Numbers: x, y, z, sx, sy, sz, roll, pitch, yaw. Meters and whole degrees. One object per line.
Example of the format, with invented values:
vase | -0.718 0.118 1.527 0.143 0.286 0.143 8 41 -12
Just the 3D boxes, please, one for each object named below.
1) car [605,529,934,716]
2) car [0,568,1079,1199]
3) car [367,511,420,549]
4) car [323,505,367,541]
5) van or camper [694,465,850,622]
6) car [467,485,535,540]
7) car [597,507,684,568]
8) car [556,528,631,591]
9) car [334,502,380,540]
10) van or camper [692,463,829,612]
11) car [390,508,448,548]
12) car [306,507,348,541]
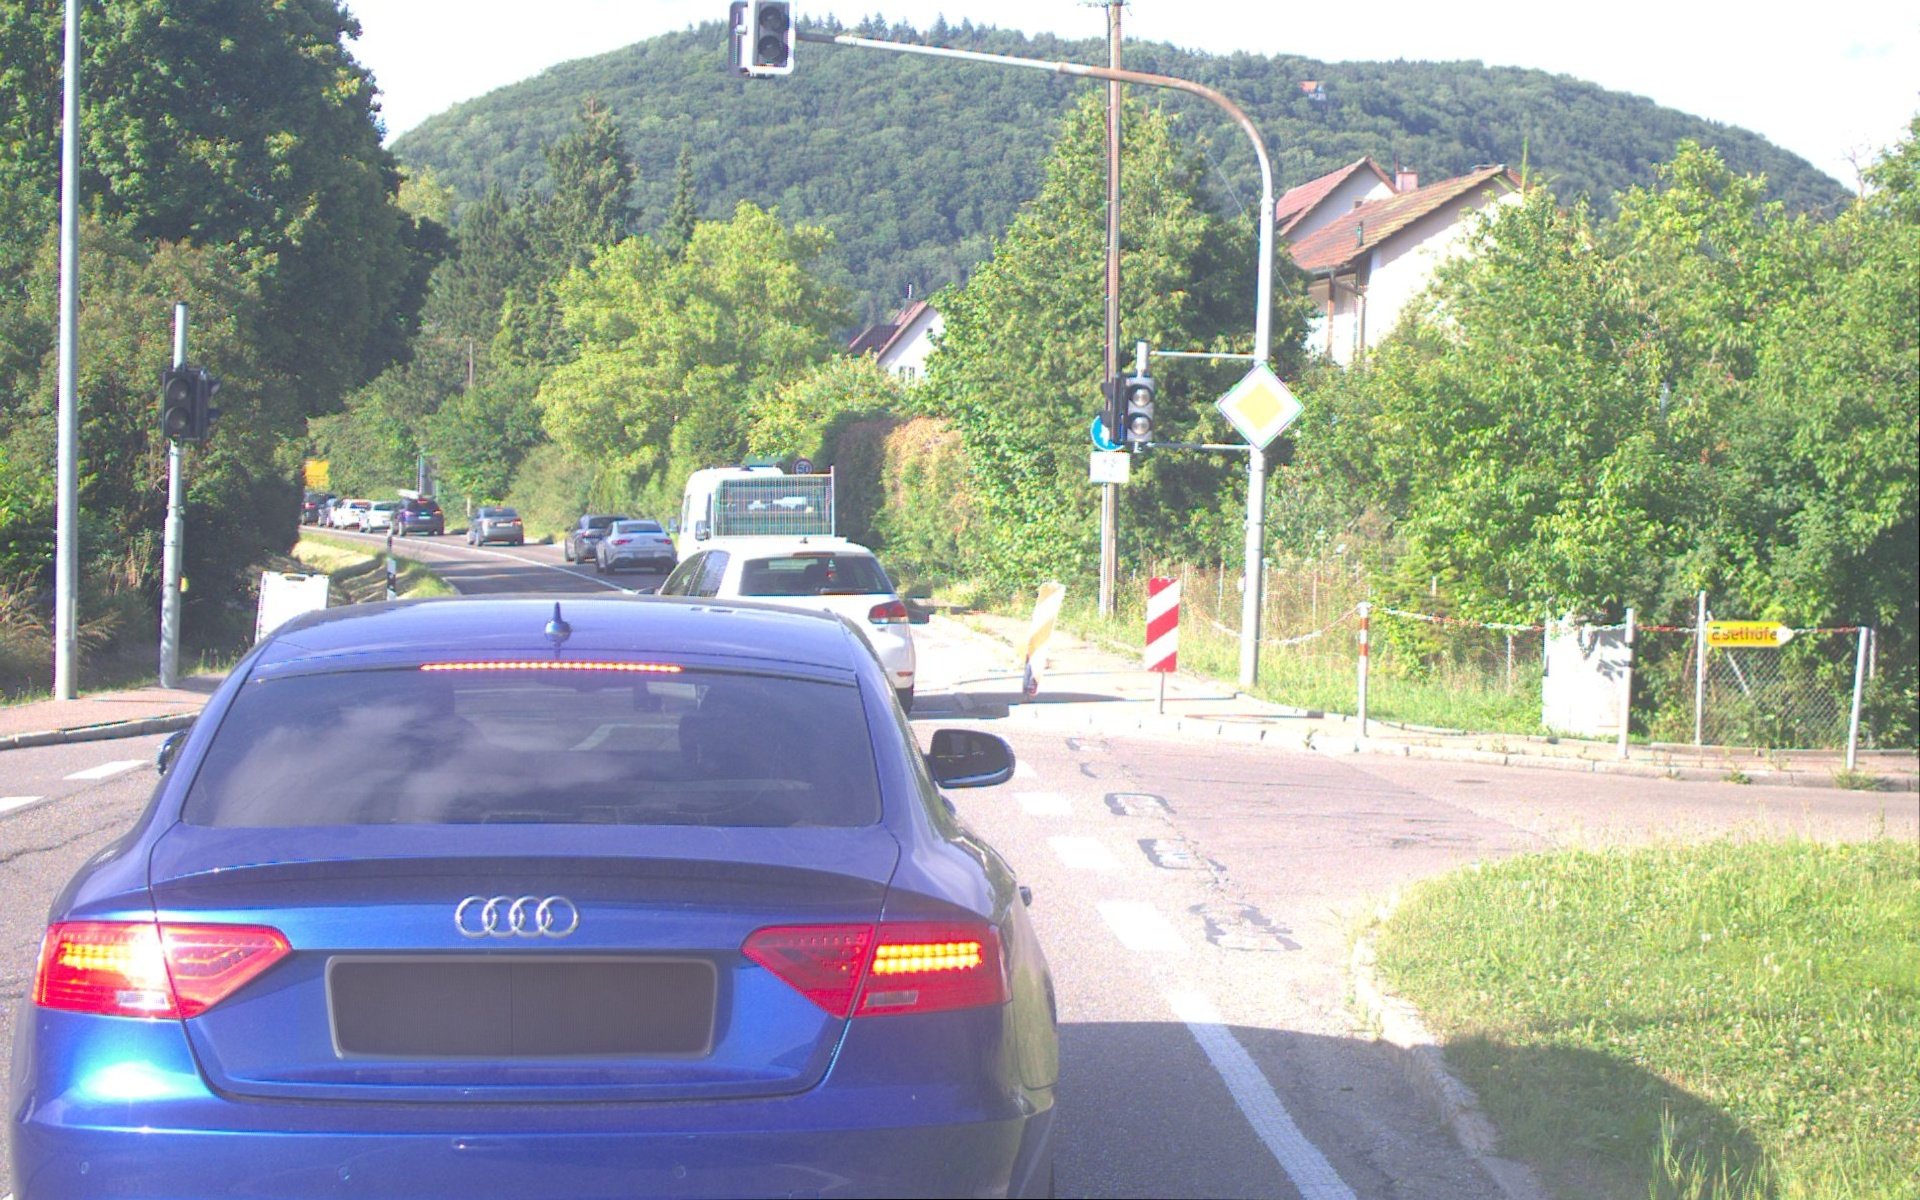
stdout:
car | -1.729 0.149 29.684 1.770 1.410 4.175 2 1 -18
car | -0.822 0.674 7.226 1.829 1.404 4.227 -1 1 -2
car | -25.931 -3.215 157.324 1.941 1.678 4.001 -1 1 -16
car | -30.760 -3.874 171.938 1.771 1.776 4.001 -1 2 -16
van or camper | -3.064 -0.931 54.958 2.179 2.377 5.371 0 2 -6
car | -17.091 -3.244 127.883 1.993 2.007 4.001 -1 1 -15
car | -8.430 -1.670 90.486 1.819 1.546 4.001 0 2 -12
car | -10.860 -1.215 101.699 1.796 1.787 4.001 -1 1 -12
car | -29.084 -3.809 165.801 1.748 1.776 4.001 -1 2 -16
van or camper | -4.103 -1.299 69.675 2.414 2.894 6.133 0 2 -6
car | -23.437 -3.132 148.819 2.040 1.678 4.002 0 2 -16
car | -32.857 -3.947 178.436 1.771 1.776 4.001 -1 2 -16
